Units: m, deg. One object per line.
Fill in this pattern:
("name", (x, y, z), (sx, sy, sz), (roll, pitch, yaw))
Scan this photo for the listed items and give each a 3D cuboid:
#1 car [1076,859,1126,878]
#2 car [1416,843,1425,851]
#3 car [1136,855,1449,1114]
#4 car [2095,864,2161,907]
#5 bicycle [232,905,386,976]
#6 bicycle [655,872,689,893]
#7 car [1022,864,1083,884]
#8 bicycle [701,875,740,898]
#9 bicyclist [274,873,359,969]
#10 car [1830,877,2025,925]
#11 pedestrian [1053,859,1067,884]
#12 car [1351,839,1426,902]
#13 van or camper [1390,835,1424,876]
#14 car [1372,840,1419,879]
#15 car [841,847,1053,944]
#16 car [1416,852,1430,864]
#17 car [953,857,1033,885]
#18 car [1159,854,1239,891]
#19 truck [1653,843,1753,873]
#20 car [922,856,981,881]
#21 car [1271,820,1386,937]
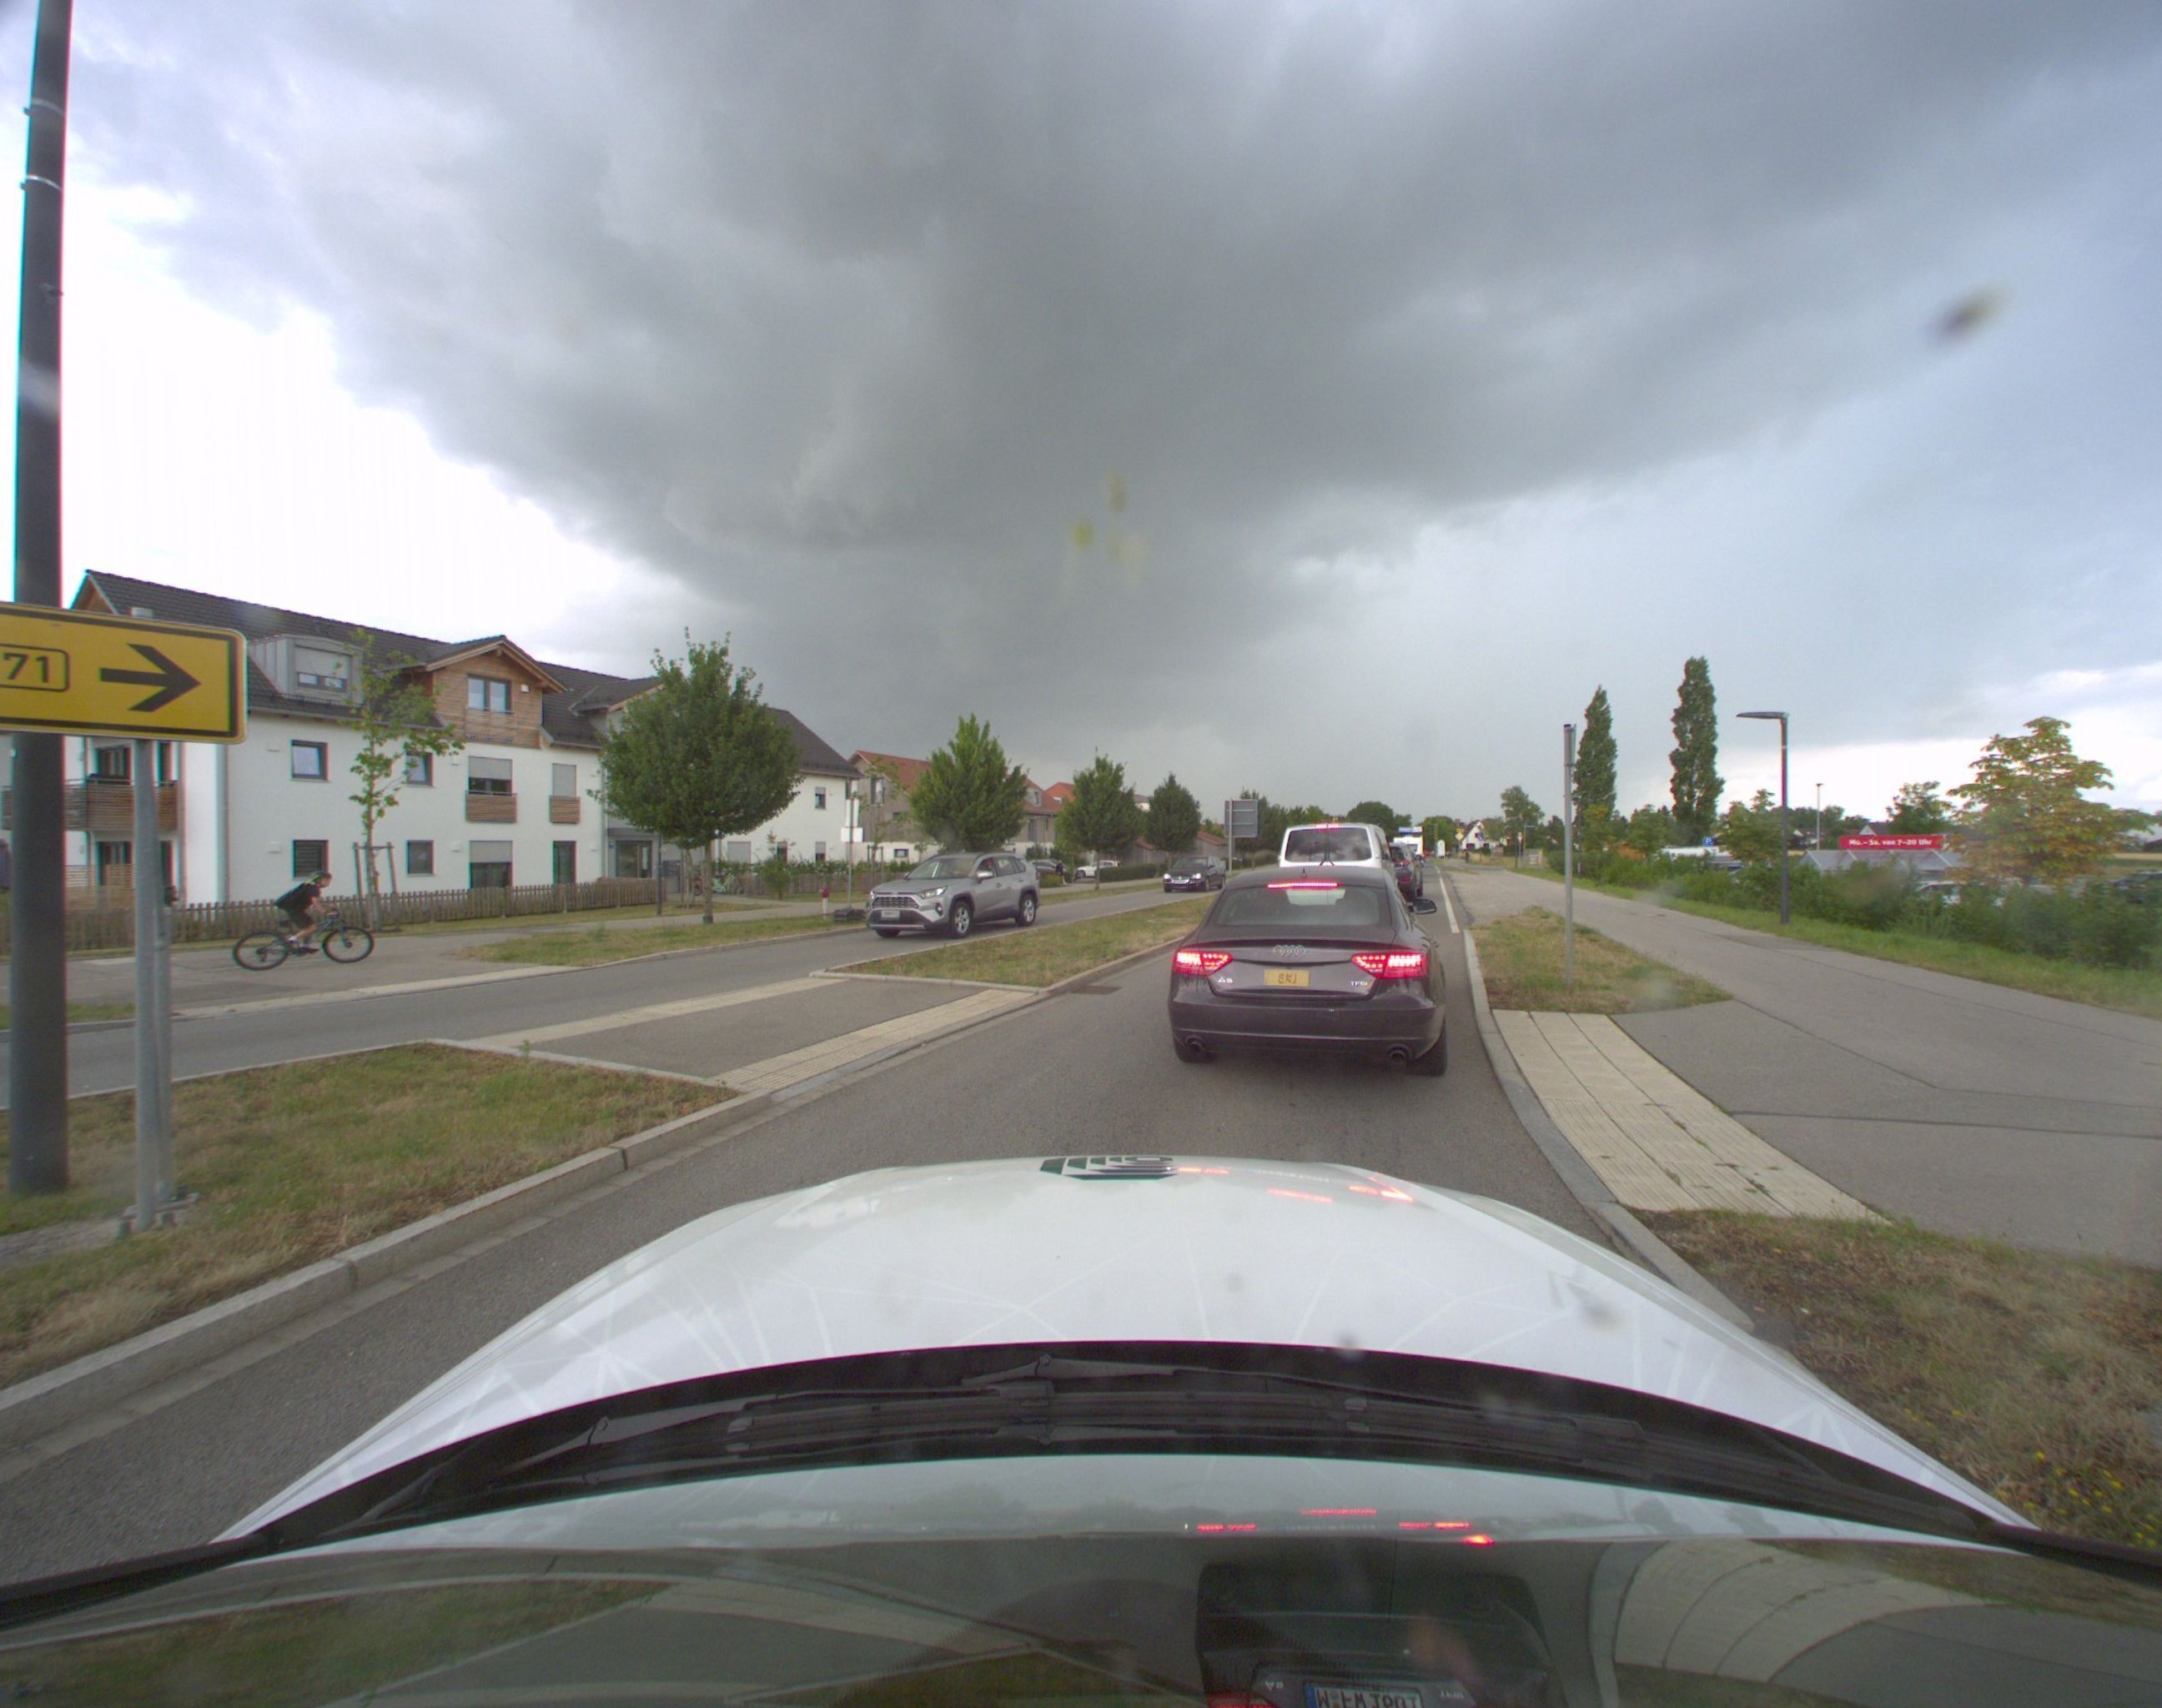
("car", (1.649, 1.168, 66.956), (3.698, 1.482, 1.695), (0, 0, 20))
("car", (87.459, -1.776, 209.752), (1.975, 2.211, 4.024), (0, 0, 28))
("car", (1.928, 0.735, 6.728), (1.769, 1.391, 4.154), (-1, 0, 21))
("car", (43.914, 1.230, 32.105), (4.516, 1.664, 2.011), (0, 0, 23))
("bicycle", (-12.325, 1.349, 13.057), (0.491, 0.946, 1.724), (-2, -1, 39))
("bicycle", (-17.244, 1.197, 34.348), (0.364, 0.843, 1.345), (3, 1, 25))
("car", (-2.037, 1.431, 58.095), (3.881, 1.315, 1.852), (0, 0, 21))
("bicycle", (-14.650, 1.321, 33.154), (0.364, 0.843, 1.556), (3, 1, 25))
("bicyclist", (-12.309, 1.051, 13.122), (0.715, 1.446, 0.875), (-2, 0, 38))
("car", (28.809, 1.554, 27.917), (4.195, 1.440, 2.011), (0, 0, 23))
("pedestrian", (-1.327, 1.093, 51.413), (0.652, 1.559, 0.587), (0, 0, 25))
("car", (8.940, 0.434, 23.496), (1.761, 1.618, 4.022), (-2, -1, 23))
("van or camper", (28.306, 0.151, 70.566), (2.602, 3.323, 6.858), (0, -1, 23))
("car", (13.978, 0.230, 36.058), (1.761, 1.618, 4.022), (-1, -1, 23))
("car", (-2.551, 0.758, 16.852), (1.975, 1.704, 4.661), (-2, -1, 25))
("car", (45.890, 0.524, 109.214), (1.599, 1.631, 3.636), (0, 0, 24))
("car", (-5.443, 1.010, 50.391), (4.488, 1.680, 2.012), (0, 0, 26))
("car", (4.915, 0.703, 33.352), (1.737, 1.416, 4.483), (0, 0, 29))
("truck", (39.930, 0.247, 52.396), (4.757, 1.872, 2.010), (0, 0, 19))
("car", (-9.493, 1.018, 59.961), (1.975, 1.772, 4.492), (0, 0, 28))
("car", (4.844, 0.393, 15.587), (1.851, 1.934, 4.020), (0, 0, 20))
